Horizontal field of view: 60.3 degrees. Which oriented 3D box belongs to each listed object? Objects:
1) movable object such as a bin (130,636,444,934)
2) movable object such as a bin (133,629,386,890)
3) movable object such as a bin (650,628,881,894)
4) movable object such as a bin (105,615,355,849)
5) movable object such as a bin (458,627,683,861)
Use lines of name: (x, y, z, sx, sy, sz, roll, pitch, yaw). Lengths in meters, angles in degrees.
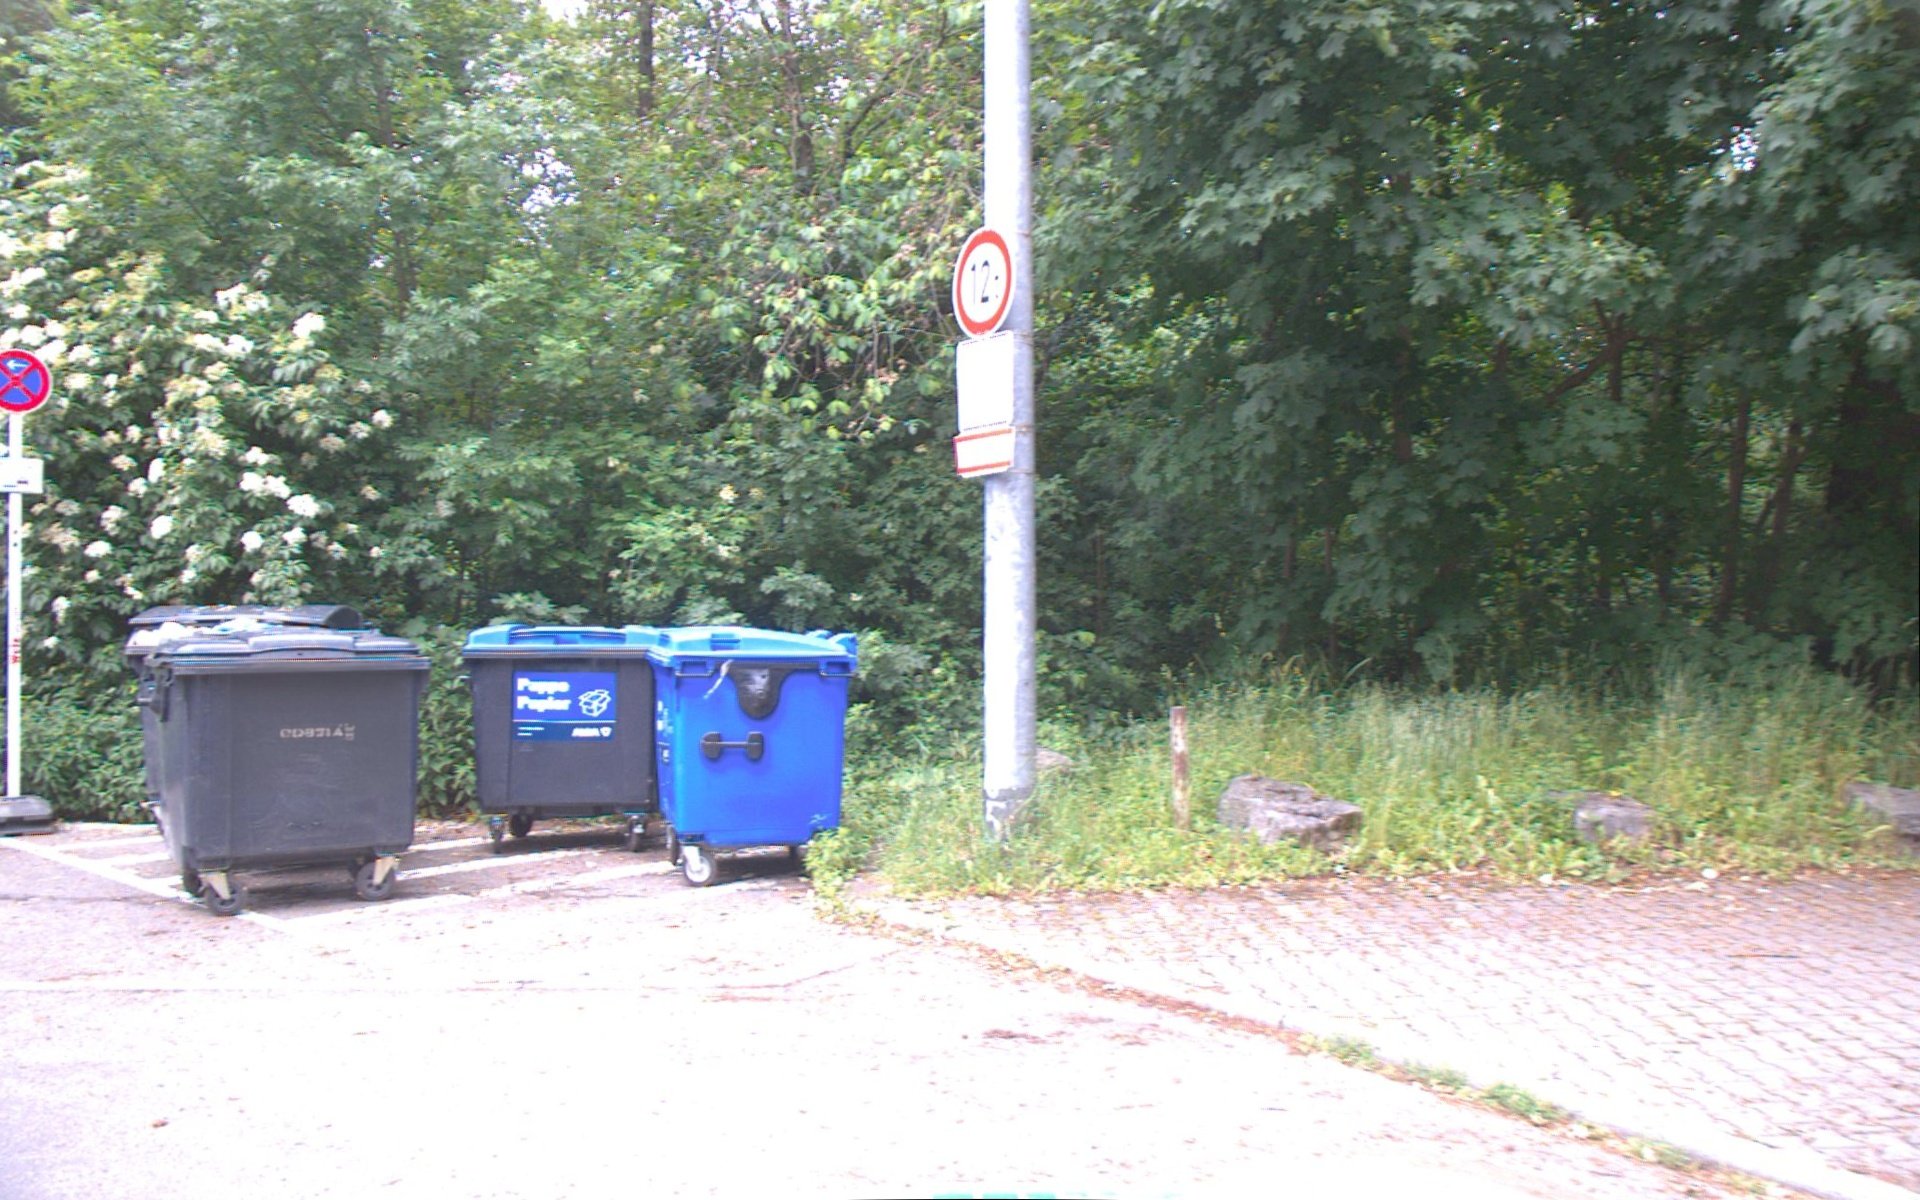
movable object such as a bin: (-3.401, 0.854, 8.331, 1.296, 1.330, 1.160, 1, -1, -32)
movable object such as a bin: (-3.977, 0.839, 9.363, 1.169, 1.338, 1.115, 1, -1, -32)
movable object such as a bin: (-1.114, 0.836, 9.201, 1.123, 1.348, 1.252, 0, -1, -15)
movable object such as a bin: (-4.731, 0.822, 10.816, 1.103, 1.450, 1.127, 0, -1, 1)
movable object such as a bin: (-2.356, 0.840, 10.196, 1.212, 1.343, 1.125, 0, -1, -7)
